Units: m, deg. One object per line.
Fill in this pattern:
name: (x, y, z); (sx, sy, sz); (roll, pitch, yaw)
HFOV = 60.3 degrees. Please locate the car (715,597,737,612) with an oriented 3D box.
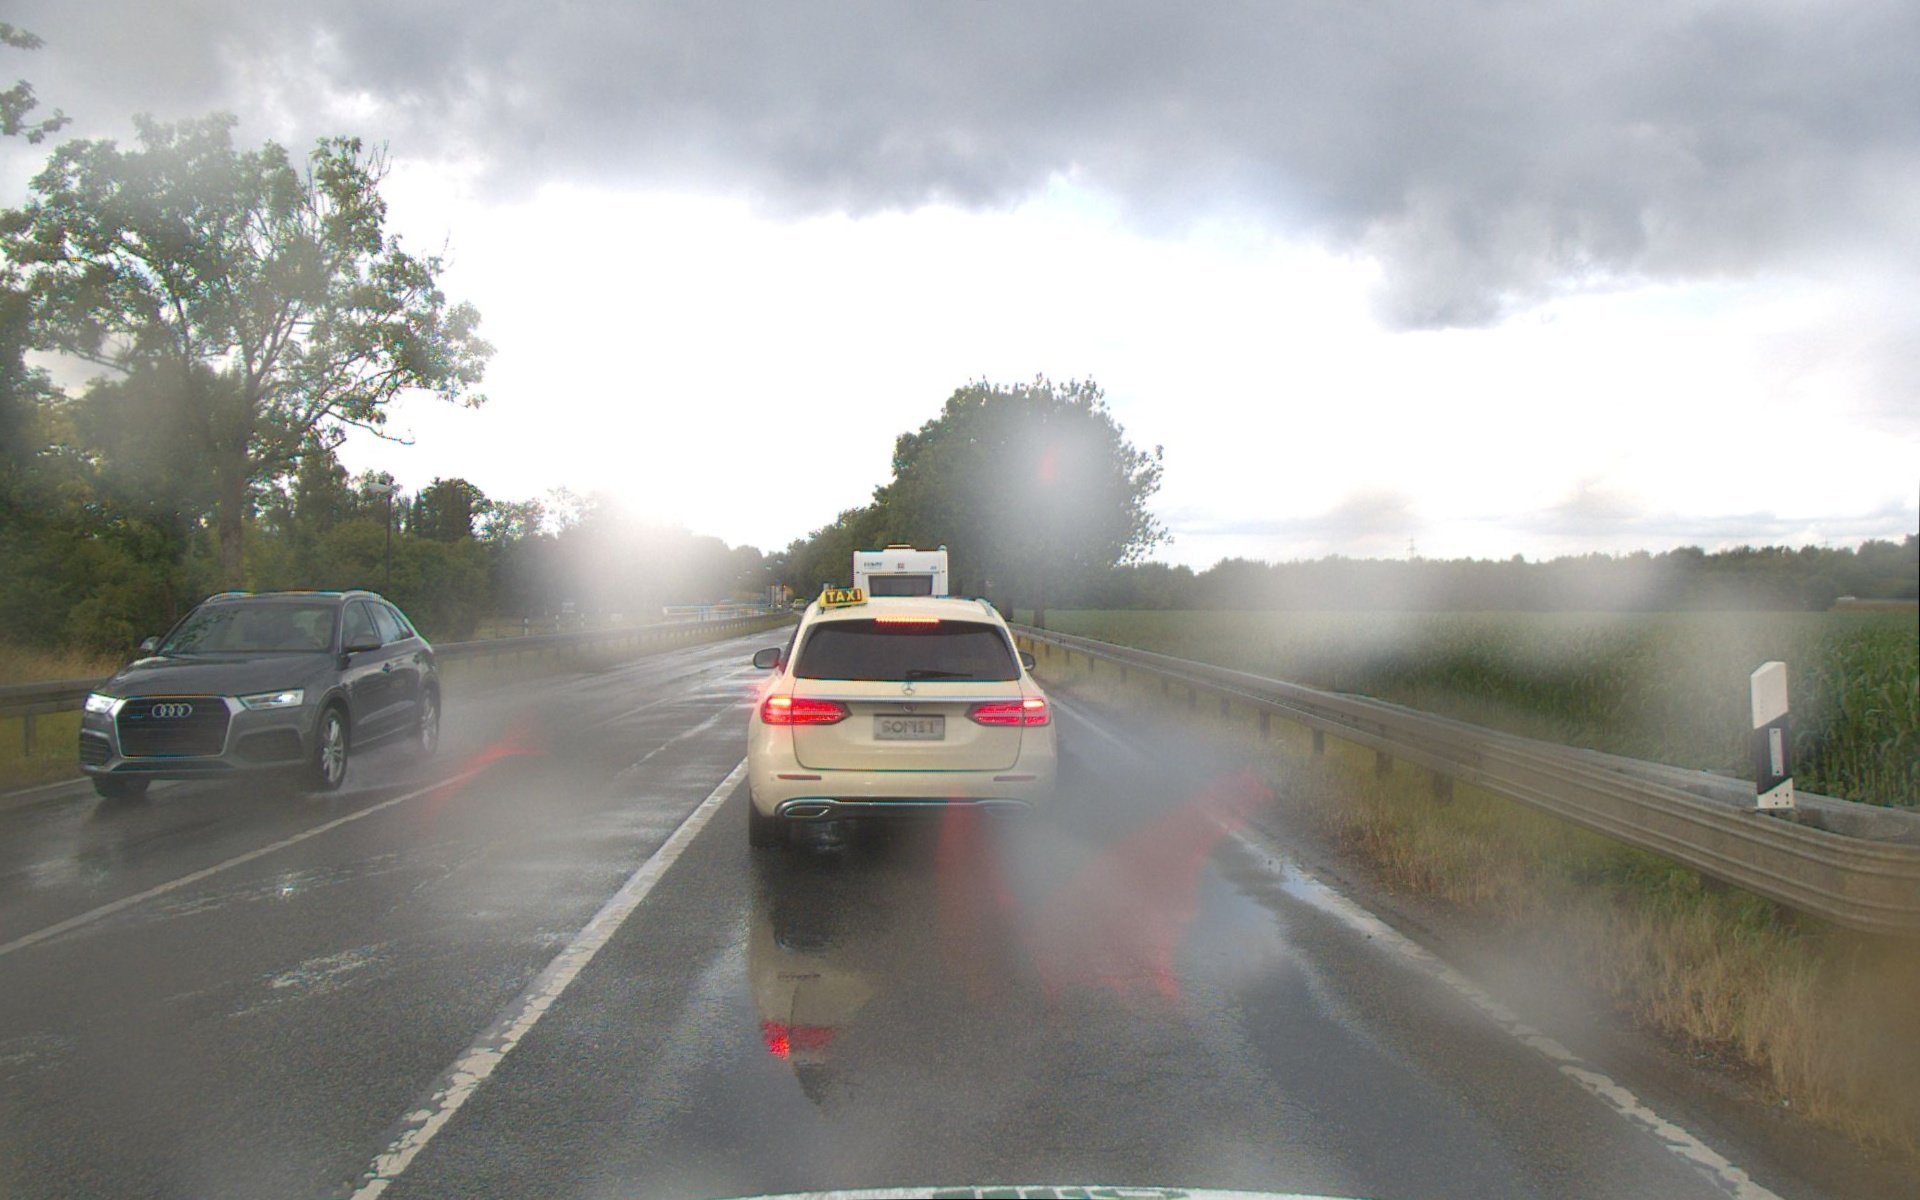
car: (-26.595, 0.503, 187.674); (1.953, 1.680, 3.999); (0, 0, -1)

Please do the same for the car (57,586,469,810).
car: (-5.599, 0.690, 13.901); (1.733, 1.550, 4.140); (-2, 0, -1)

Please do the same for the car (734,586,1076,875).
car: (-0.312, 0.692, 10.808); (1.788, 1.511, 4.144); (1, 0, -1)

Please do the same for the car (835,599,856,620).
car: (-11.448, 0.926, 165.688); (1.955, 2.049, 3.995); (0, 0, -6)

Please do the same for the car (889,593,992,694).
car: (-0.361, 0.662, 27.567); (1.594, 1.556, 3.931); (0, 0, -2)

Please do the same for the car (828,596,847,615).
car: (-14.067, 0.623, 190.093); (1.953, 2.087, 3.999); (0, 0, -1)

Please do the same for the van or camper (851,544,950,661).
van or camper: (-1.478, 0.035, 41.359); (2.303, 2.727, 5.766); (0, 0, -2)

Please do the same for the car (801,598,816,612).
car: (-21.728, 0.692, 237.408); (1.956, 2.049, 3.994); (0, 0, -7)

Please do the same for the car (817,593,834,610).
car: (-16.460, 0.231, 202.496); (1.954, 2.049, 3.997); (0, 0, -4)
